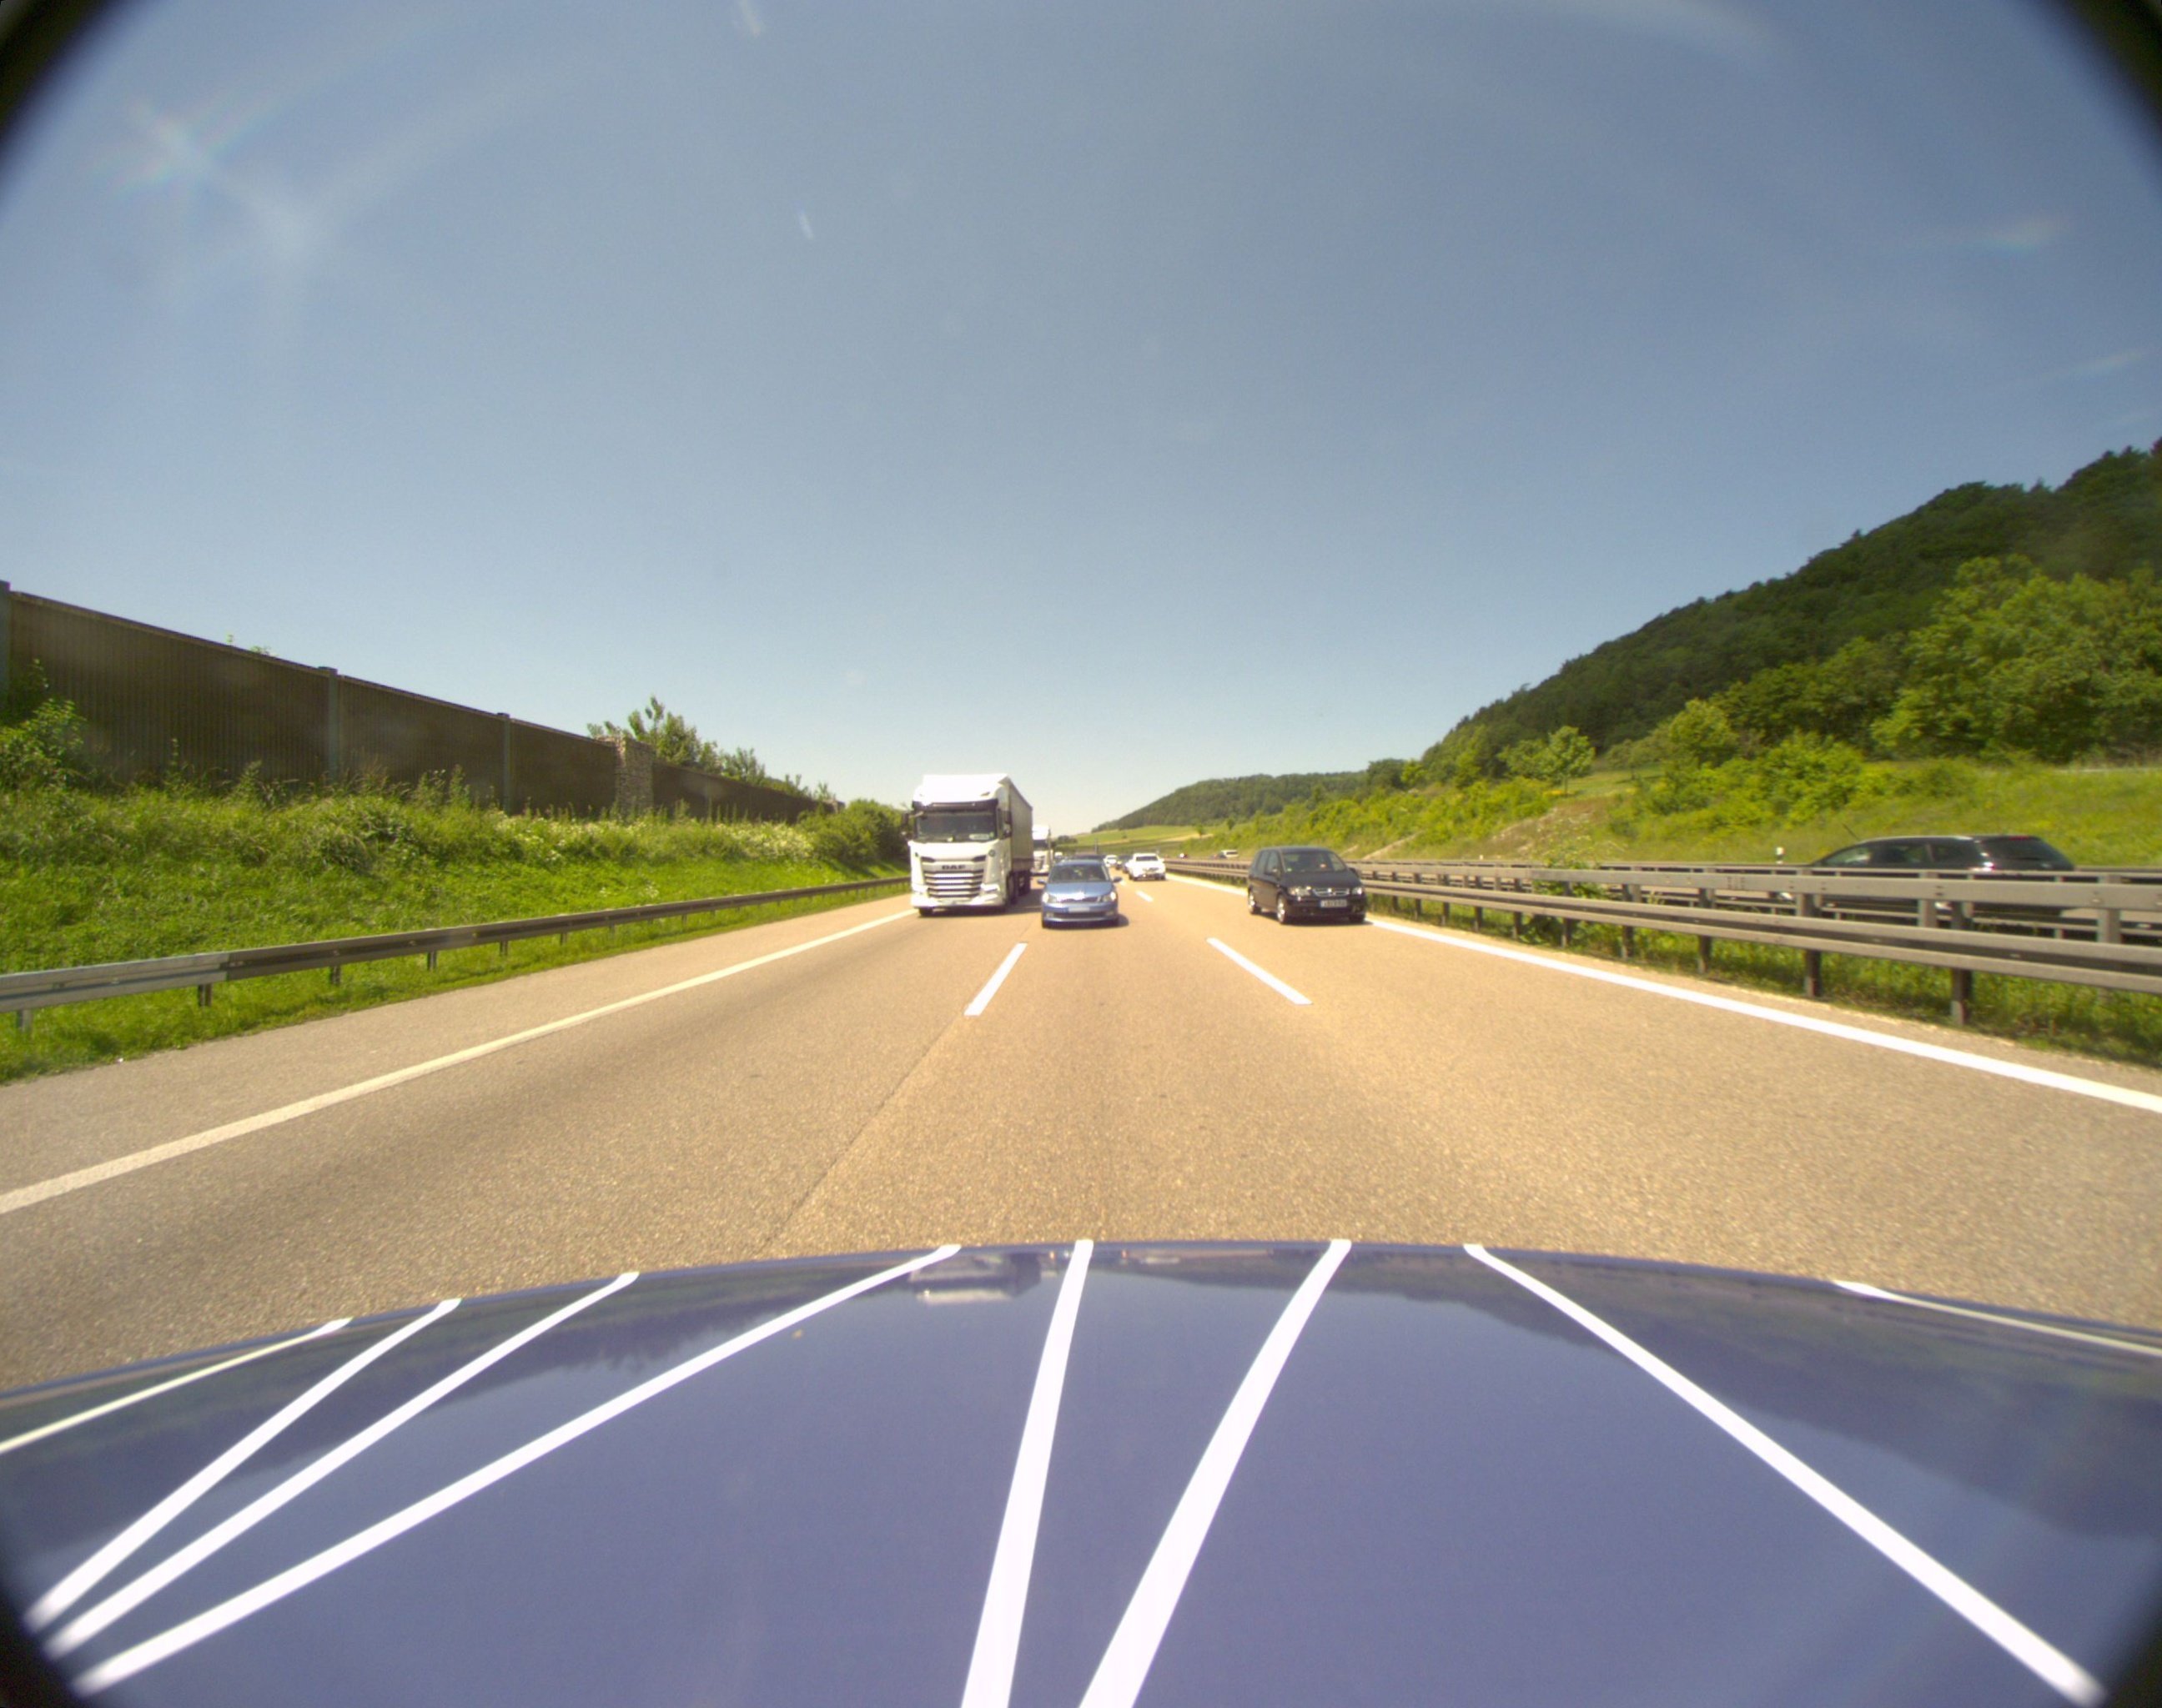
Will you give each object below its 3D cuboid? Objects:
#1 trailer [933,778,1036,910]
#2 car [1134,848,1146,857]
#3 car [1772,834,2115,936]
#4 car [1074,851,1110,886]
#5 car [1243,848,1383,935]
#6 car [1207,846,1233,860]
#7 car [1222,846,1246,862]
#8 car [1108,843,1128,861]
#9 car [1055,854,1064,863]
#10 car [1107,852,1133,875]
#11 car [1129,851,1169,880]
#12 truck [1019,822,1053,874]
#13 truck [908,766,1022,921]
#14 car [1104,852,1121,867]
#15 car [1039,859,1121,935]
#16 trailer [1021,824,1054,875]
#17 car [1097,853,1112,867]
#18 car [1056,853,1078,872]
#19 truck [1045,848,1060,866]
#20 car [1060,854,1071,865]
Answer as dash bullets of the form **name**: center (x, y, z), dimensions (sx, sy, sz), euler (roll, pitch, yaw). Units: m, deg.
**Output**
- **trailer**: center (-3.344, -0.334, 30.019), dimensions (2.484, 3.954, 13.652), euler (-1, 0, -1)
- **car**: center (12.122, -0.310, 156.109), dimensions (1.998, 1.828, 5.226), euler (-1, 0, 0)
- **car**: center (15.779, 0.491, 14.303), dimensions (1.854, 1.600, 4.078), euler (-1, 0, 1)
- **car**: center (0.594, 0.725, 39.267), dimensions (1.736, 1.674, 4.197), euler (-1, 0, 1)
- **car**: center (4.892, 0.705, 16.720), dimensions (1.805, 1.625, 4.446), euler (-1, 0, 2)
- **car**: center (15.350, -0.109, 83.929), dimensions (1.998, 1.510, 4.521), euler (-1, 0, 0)
- **car**: center (19.161, -0.046, 95.292), dimensions (2.065, 1.930, 4.660), euler (-1, 0, 0)
- **car**: center (3.754, -0.212, 77.425), dimensions (1.998, 1.702, 4.000), euler (-2, 1, 2)
- **car**: center (-4.973, 1.001, 173.691), dimensions (1.999, 2.002, 3.999), euler (-2, 1, -1)
- **car**: center (3.230, 0.746, 62.877), dimensions (1.998, 1.692, 4.000), euler (-2, 1, 2)
- **car**: center (3.985, 0.651, 45.207), dimensions (1.998, 1.612, 4.000), euler (-2, 1, 1)
- **truck**: center (-3.689, -0.511, 63.266), dimensions (2.532, 4.065, 6.077), euler (-2, 1, -3)
- **truck**: center (-3.259, -0.282, 22.922), dimensions (2.484, 3.954, 6.380), euler (-1, 0, -1)
- **car**: center (3.884, 0.662, 94.442), dimensions (1.998, 1.702, 4.000), euler (-2, 1, 2)
- **car**: center (-0.054, 0.902, 17.910), dimensions (1.660, 1.481, 4.652), euler (-1, 0, -1)
- **trailer**: center (-3.905, -0.425, 69.240), dimensions (2.544, 4.085, 13.623), euler (-2, 1, -3)
- **car**: center (3.254, 0.796, 104.641), dimensions (1.998, 1.702, 4.000), euler (-2, 1, 2)
- **car**: center (-1.387, 0.845, 75.588), dimensions (1.999, 1.702, 3.999), euler (-2, 1, -1)
- **truck**: center (-3.895, 0.413, 104.521), dimensions (1.836, 2.267, 6.593), euler (-2, 1, -1)
- **car**: center (-2.898, 0.999, 144.590), dimensions (1.999, 2.002, 3.999), euler (-2, 1, -1)
